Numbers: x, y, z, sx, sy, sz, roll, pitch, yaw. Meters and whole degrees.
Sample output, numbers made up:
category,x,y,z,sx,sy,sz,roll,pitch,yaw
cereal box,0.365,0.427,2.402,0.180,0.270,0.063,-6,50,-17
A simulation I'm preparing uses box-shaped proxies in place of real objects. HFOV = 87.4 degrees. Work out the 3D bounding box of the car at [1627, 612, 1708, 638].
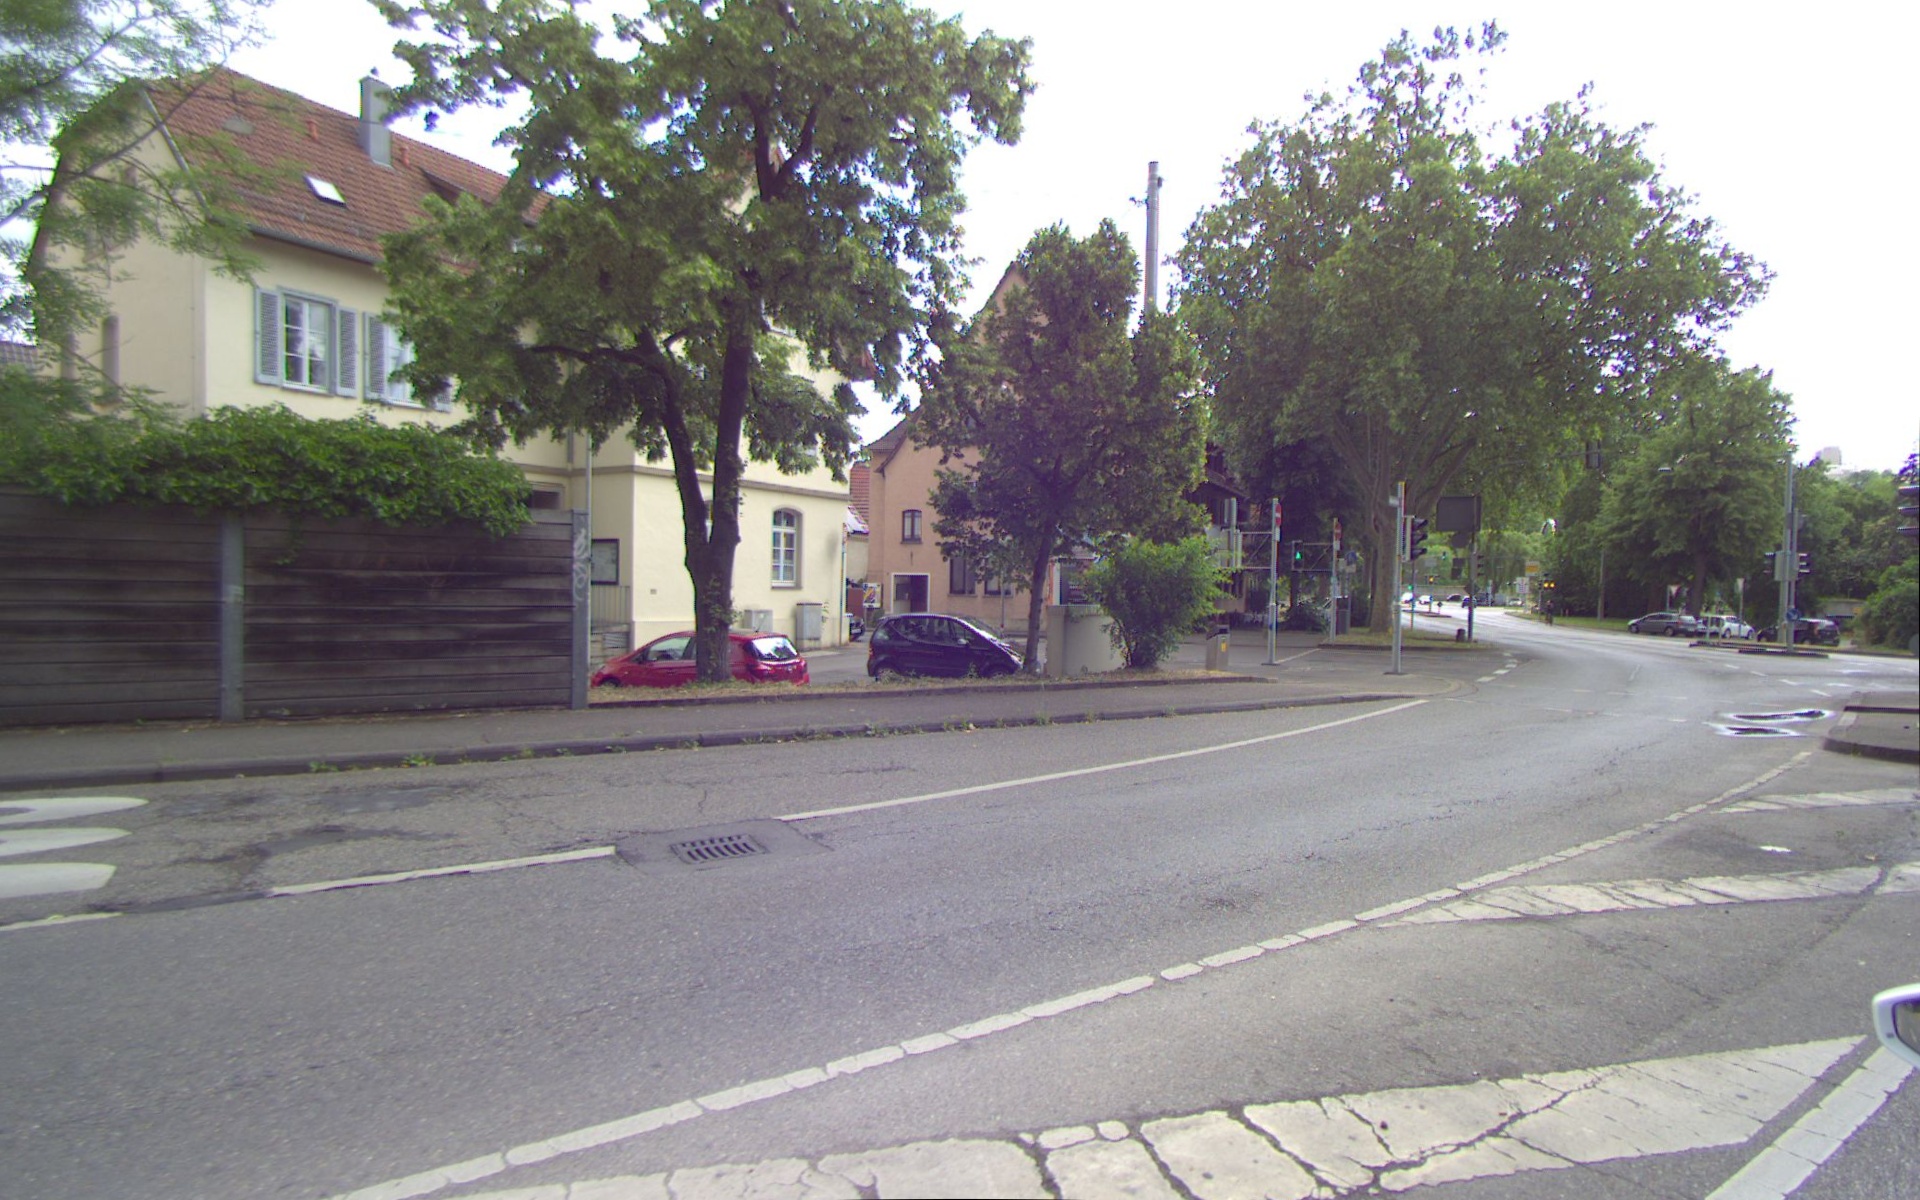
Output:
category,x,y,z,sx,sy,sz,roll,pitch,yaw
car,45.009,1.564,63.967,1.964,1.595,3.992,1,-1,-11

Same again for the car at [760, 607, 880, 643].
category,x,y,z,sx,sy,sz,roll,pitch,yaw
car,-4.735,0.820,33.972,3.618,1.118,1.737,1,-1,20

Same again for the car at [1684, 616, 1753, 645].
category,x,y,z,sx,sy,sz,roll,pitch,yaw
car,48.416,1.937,64.110,3.948,1.795,1.987,1,-1,-27

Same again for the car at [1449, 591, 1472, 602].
category,x,y,z,sx,sy,sz,roll,pitch,yaw
car,100.138,-0.673,200.892,3.924,2.040,1.999,1,0,24

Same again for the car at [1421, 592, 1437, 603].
category,x,y,z,sx,sy,sz,roll,pitch,yaw
car,80.671,-0.435,172.631,1.966,1.907,3.990,1,-1,33

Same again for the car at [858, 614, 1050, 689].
category,x,y,z,sx,sy,sz,roll,pitch,yaw
car,-0.100,1.021,20.907,3.618,1.392,1.737,1,0,20

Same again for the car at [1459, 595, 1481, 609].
category,x,y,z,sx,sy,sz,roll,pitch,yaw
car,71.469,0.263,140.739,1.968,1.907,3.985,1,-1,37

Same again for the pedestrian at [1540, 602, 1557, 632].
category,x,y,z,sx,sy,sz,roll,pitch,yaw
pedestrian,43.487,1.271,74.251,0.761,2.207,0.860,1,0,-1

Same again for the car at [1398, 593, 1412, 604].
category,x,y,z,sx,sy,sz,roll,pitch,yaw
car,76.954,-0.260,173.592,1.963,1.907,3.996,1,-1,26

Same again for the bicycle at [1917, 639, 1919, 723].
category,x,y,z,sx,sy,sz,roll,pitch,yaw
bicycle,13.635,1.096,12.787,2.047,1.096,0.936,2,1,42

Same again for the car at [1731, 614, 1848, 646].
category,x,y,z,sx,sy,sz,roll,pitch,yaw
car,42.155,1.502,51.191,1.962,1.537,4.590,1,-1,-4

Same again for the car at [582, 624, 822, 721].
category,x,y,z,sx,sy,sz,roll,pitch,yaw
car,-4.385,1.157,17.073,3.685,1.421,1.735,1,-1,25
